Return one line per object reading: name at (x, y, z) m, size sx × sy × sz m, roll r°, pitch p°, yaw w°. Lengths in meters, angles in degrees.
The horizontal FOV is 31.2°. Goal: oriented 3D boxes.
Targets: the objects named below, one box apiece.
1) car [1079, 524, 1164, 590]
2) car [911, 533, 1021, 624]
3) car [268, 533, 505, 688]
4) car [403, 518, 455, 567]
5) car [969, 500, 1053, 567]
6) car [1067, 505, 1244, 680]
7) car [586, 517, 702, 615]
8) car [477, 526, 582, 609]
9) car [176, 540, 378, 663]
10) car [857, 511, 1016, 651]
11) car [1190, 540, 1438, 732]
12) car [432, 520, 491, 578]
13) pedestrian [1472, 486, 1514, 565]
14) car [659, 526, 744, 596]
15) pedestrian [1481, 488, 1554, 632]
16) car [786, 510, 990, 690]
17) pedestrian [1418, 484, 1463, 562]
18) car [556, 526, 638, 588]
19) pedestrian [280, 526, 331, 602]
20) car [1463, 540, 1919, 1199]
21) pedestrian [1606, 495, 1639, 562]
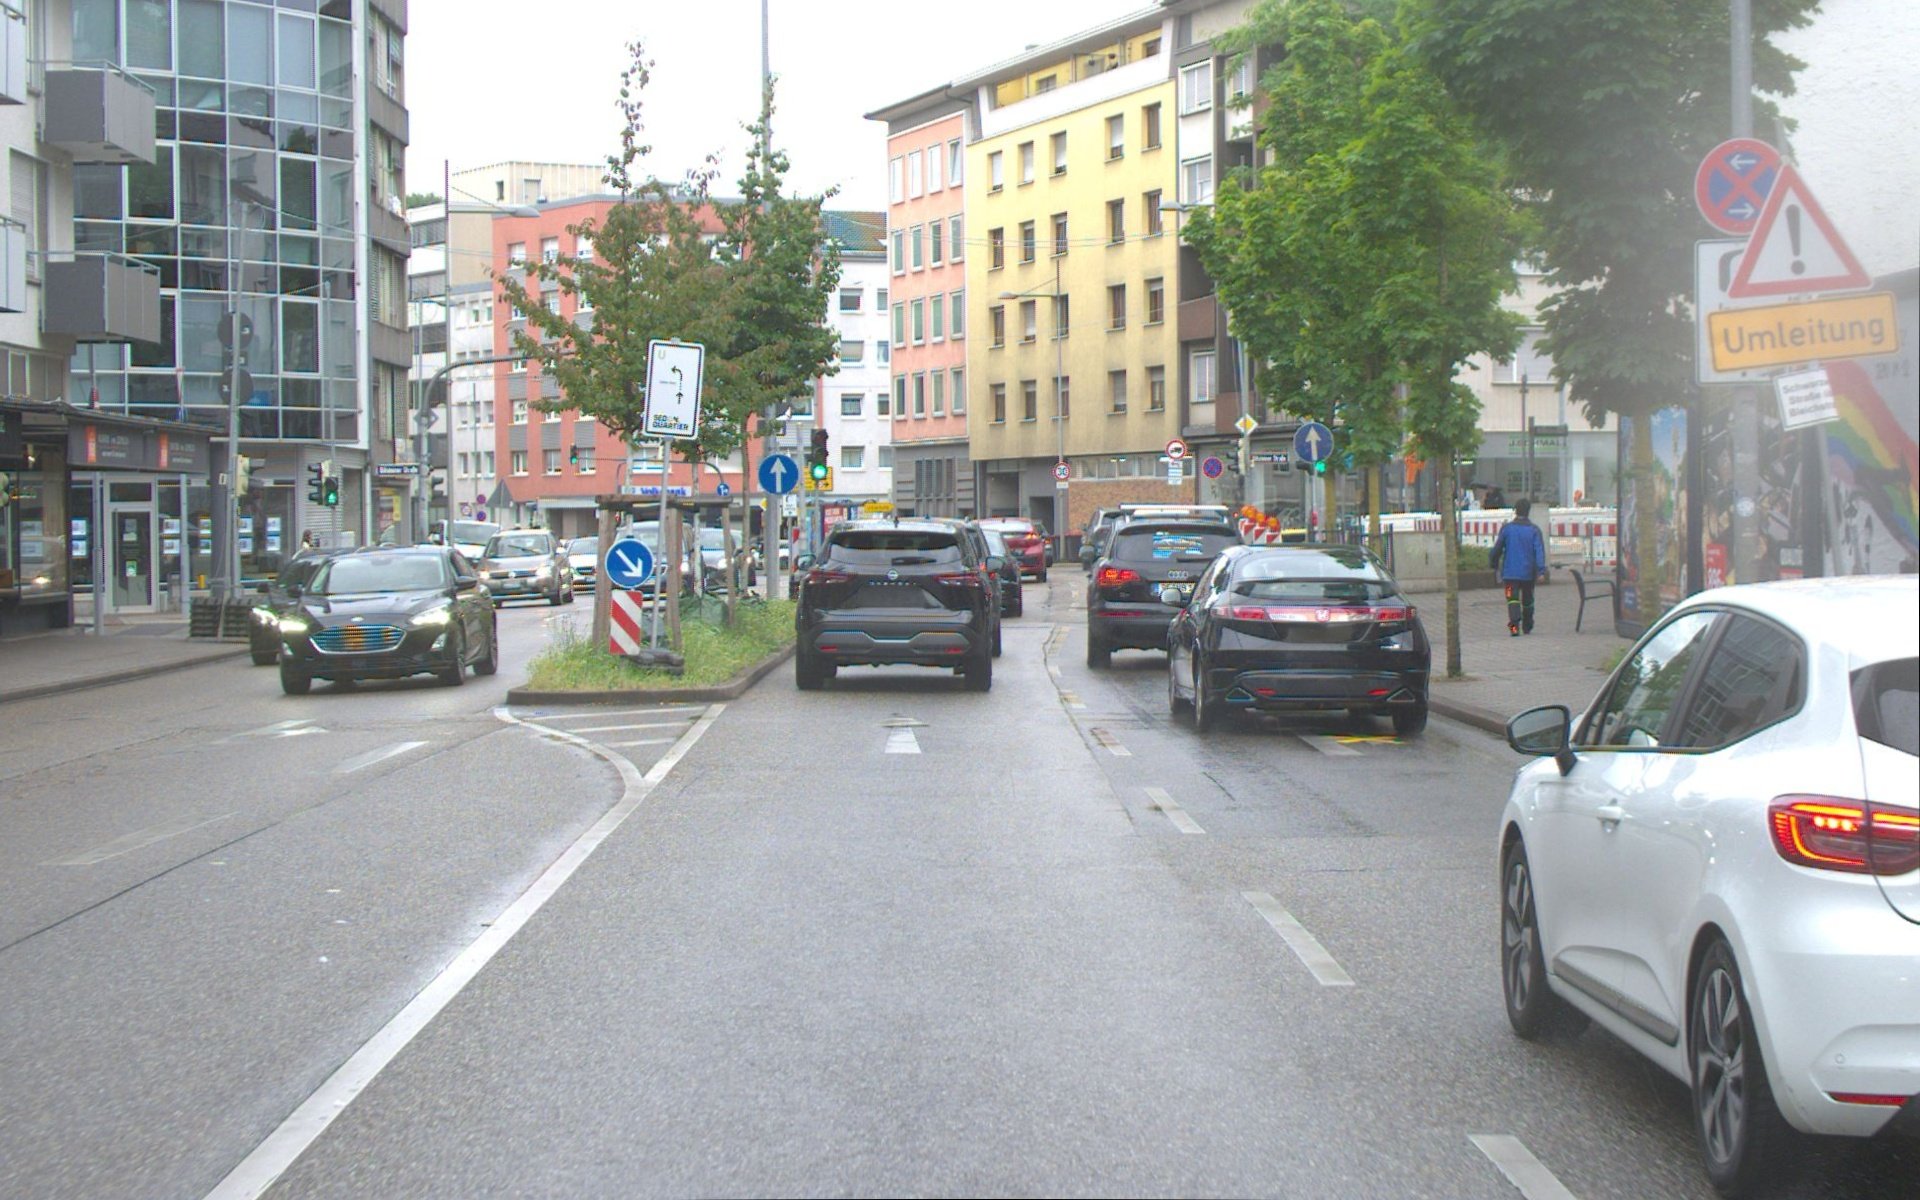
car at (4.166, -1.136, 89.332) m, size 1.708 × 1.605 × 3.729 m, roll 1°, pitch 2°, yaw -5°
car at (0.065, -0.375, 55.959) m, size 1.641 × 1.376 × 3.349 m, roll -2°, pitch 1°, yaw -2°
car at (-5.884, 0.063, 35.706) m, size 1.720 × 1.418 × 4.165 m, roll -3°, pitch 1°, yaw 0°
car at (-16.820, -1.828, 108.781) m, size 1.455 × 1.425 × 3.371 m, roll 1°, pitch 2°, yaw -12°
car at (1.106, -1.466, 75.233) m, size 1.641 × 1.376 × 3.349 m, roll -2°, pitch 1°, yaw -2°
car at (2.161, -0.133, 38.822) m, size 1.830 × 1.799 × 3.719 m, roll 1°, pitch 2°, yaw 1°
car at (-5.777, -0.652, 63.199) m, size 1.683 × 1.655 × 4.096 m, roll -3°, pitch 1°, yaw 0°
car at (-8.826, -0.688, 70.710) m, size 1.632 × 1.586 × 3.937 m, roll -3°, pitch 1°, yaw -1°
car at (-9.221, -0.022, 46.754) m, size 1.708 × 1.463 × 4.829 m, roll -3°, pitch 1°, yaw 0°
car at (-0.269, -0.261, 41.951) m, size 1.823 × 1.595 × 3.719 m, roll 1°, pitch 1°, yaw 0°
car at (2.751, 0.232, 27.386) m, size 1.787 × 1.395 × 3.718 m, roll 0°, pitch 1°, yaw 3°
car at (-14.008, -1.428, 96.509) m, size 1.549 × 1.565 × 3.349 m, roll 1°, pitch 1°, yaw -10°
pedestrian at (13.777, -1.927, 88.853) m, size 0.822 × 2.006 × 0.839 m, roll 2°, pitch 2°, yaw 22°
car at (-5.651, -0.880, 75.424) m, size 1.532 × 1.408 × 3.937 m, roll -3°, pitch 1°, yaw 0°
pedestrian at (6.948, -0.500, 42.836) m, size 0.792 × 1.749 × 0.871 m, roll -2°, pitch 1°, yaw 13°
car at (-0.647, -0.039, 33.066) m, size 1.823 × 1.595 × 3.719 m, roll 1°, pitch 1°, yaw 0°
pedestrian at (12.497, -1.999, 89.380) m, size 0.821 × 2.006 × 0.840 m, roll 1°, pitch 2°, yaw -19°
car at (-8.850, -1.068, 84.014) m, size 1.632 × 1.403 × 3.438 m, roll -3°, pitch 1°, yaw -1°
pedestrian at (-14.040, -0.769, 73.740) m, size 0.781 × 1.585 × 0.763 m, roll -3°, pitch 1°, yaw -37°
car at (2.491, 0.588, 9.056) m, size 1.665 × 1.391 × 3.867 m, roll -1°, pitch 2°, yaw -2°
pedestrian at (17.595, -1.891, 91.243) m, size 0.528 × 1.763 × 0.623 m, roll 0°, pitch 2°, yaw -30°
